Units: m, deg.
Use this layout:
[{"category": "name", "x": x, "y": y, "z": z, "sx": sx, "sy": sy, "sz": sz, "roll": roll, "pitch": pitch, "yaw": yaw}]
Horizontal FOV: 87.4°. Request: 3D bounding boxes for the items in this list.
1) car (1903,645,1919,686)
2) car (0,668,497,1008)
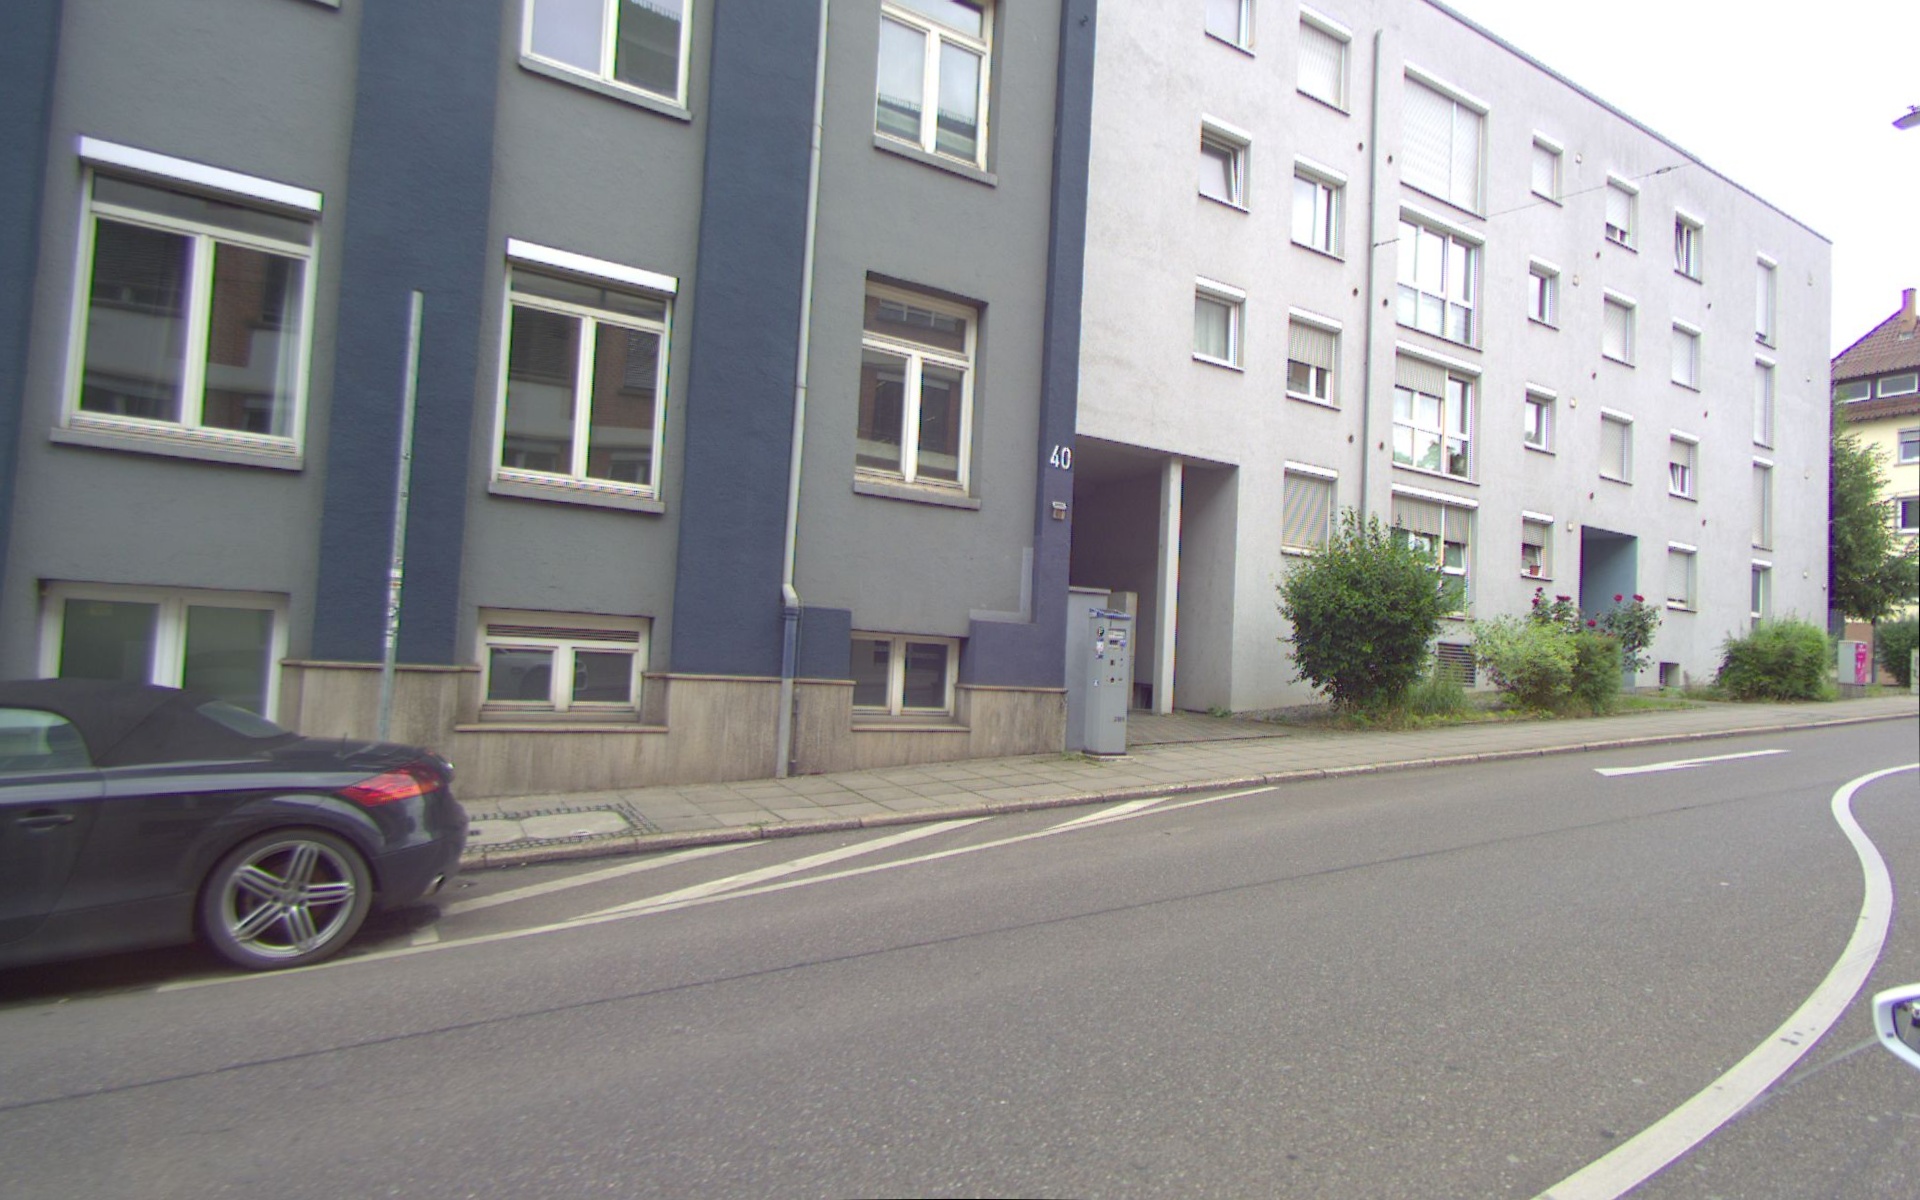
[{"category": "car", "x": 38.207, "y": 2.504, "z": 38.856, "sx": 3.727, "sy": 1.575, "sz": 1.681, "roll": 1, "pitch": -4, "yaw": -34}, {"category": "car", "x": -4.468, "y": 1.032, "z": 4.755, "sx": 3.994, "sy": 1.344, "sz": 1.712, "roll": 1, "pitch": -4, "yaw": -31}]
